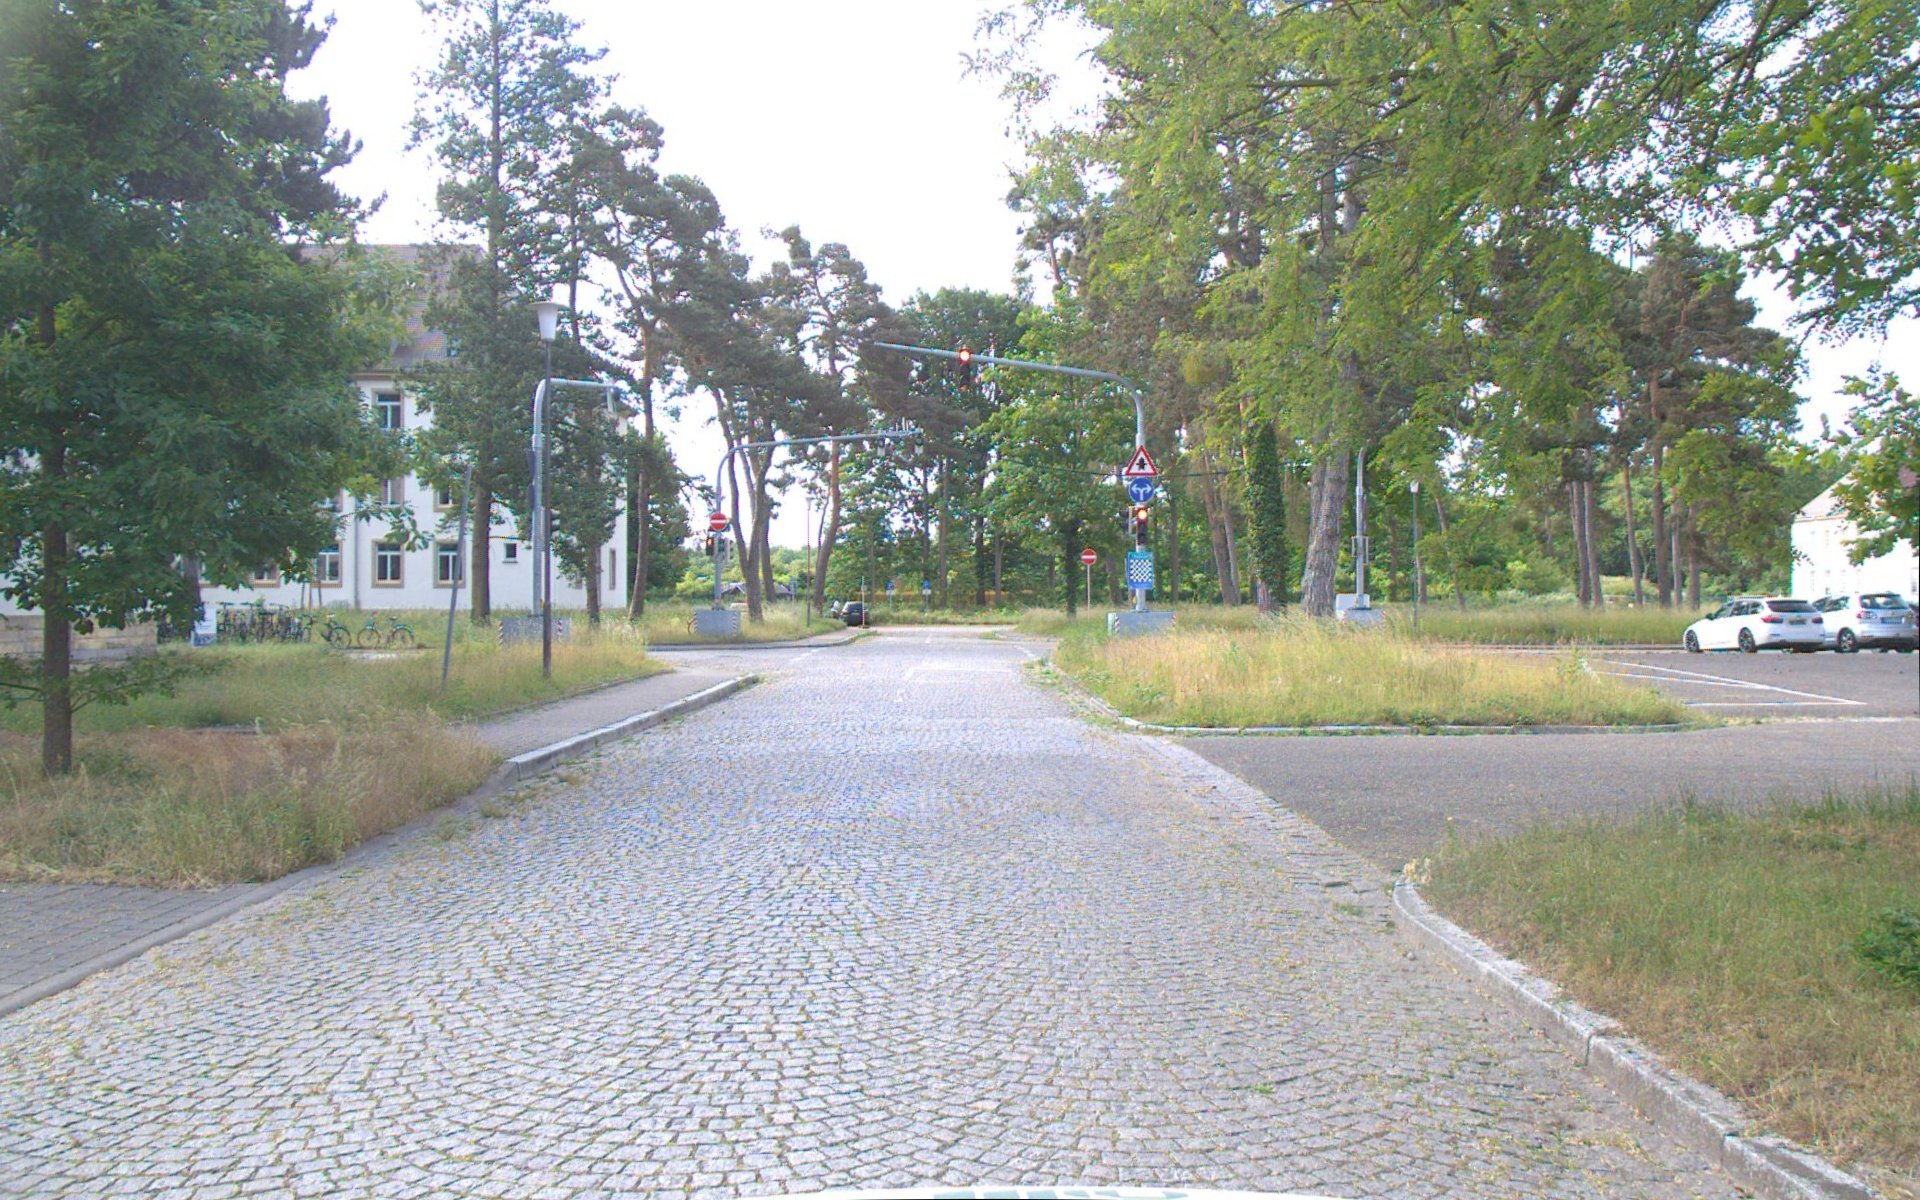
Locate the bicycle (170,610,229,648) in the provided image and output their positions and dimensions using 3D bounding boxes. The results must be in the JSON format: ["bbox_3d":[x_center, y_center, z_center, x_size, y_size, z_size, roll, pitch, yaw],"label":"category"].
[{"bbox_3d":[-22.894,0.859,49.827,0.721,1.095,2.273,0,0,0],"label":"bicycle"}]

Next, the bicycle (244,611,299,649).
[{"bbox_3d":[-20.744,0.896,49.889,0.721,1.095,2.273,0,0,0],"label":"bicycle"}]

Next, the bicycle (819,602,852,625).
[{"bbox_3d":[-7.493,0.804,99.442,1.928,1.343,0.518,1,-1,1],"label":"bicycle"}]

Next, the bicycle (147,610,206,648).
[{"bbox_3d":[-23.613,0.858,49.888,0.721,1.095,2.273,0,0,0],"label":"bicycle"}]

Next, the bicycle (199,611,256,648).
[{"bbox_3d":[-22.266,0.883,50.330,0.721,1.095,2.273,0,0,0],"label":"bicycle"}]

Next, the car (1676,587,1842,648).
[{"bbox_3d":[20.771,0.492,43.205,1.954,1.507,4.421,0,-1,-4],"label":"car"}]

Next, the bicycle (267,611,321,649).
[{"bbox_3d":[-20.116,0.887,49.979,0.721,1.095,2.273,0,0,0],"label":"bicycle"}]

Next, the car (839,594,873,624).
[{"bbox_3d":[-6.655,0.542,106.309,2.014,1.878,3.999,0,0,-2],"label":"car"}]

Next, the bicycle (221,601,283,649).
[{"bbox_3d":[-21.479,0.747,50.233,0.721,1.410,2.711,0,0,0],"label":"bicycle"}]

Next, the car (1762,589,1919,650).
[{"bbox_3d":[23.236,0.546,43.423,1.954,1.507,4.421,0,-1,-4],"label":"car"}]

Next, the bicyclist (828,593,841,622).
[{"bbox_3d":[-7.547,0.448,99.444,0.733,1.700,0.526,1,-1,1],"label":"bicyclist"}]

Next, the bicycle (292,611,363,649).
[{"bbox_3d":[-18.641,0.872,48.751,1.818,1.095,0.738,0,0,1],"label":"bicycle"}]

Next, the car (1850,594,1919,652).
[{"bbox_3d":[25.847,0.605,43.757,1.954,1.507,4.421,0,-1,-4],"label":"car"}]

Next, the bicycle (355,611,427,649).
[{"bbox_3d":[-16.790,0.877,48.818,1.818,1.095,0.831,0,0,1],"label":"bicycle"}]
